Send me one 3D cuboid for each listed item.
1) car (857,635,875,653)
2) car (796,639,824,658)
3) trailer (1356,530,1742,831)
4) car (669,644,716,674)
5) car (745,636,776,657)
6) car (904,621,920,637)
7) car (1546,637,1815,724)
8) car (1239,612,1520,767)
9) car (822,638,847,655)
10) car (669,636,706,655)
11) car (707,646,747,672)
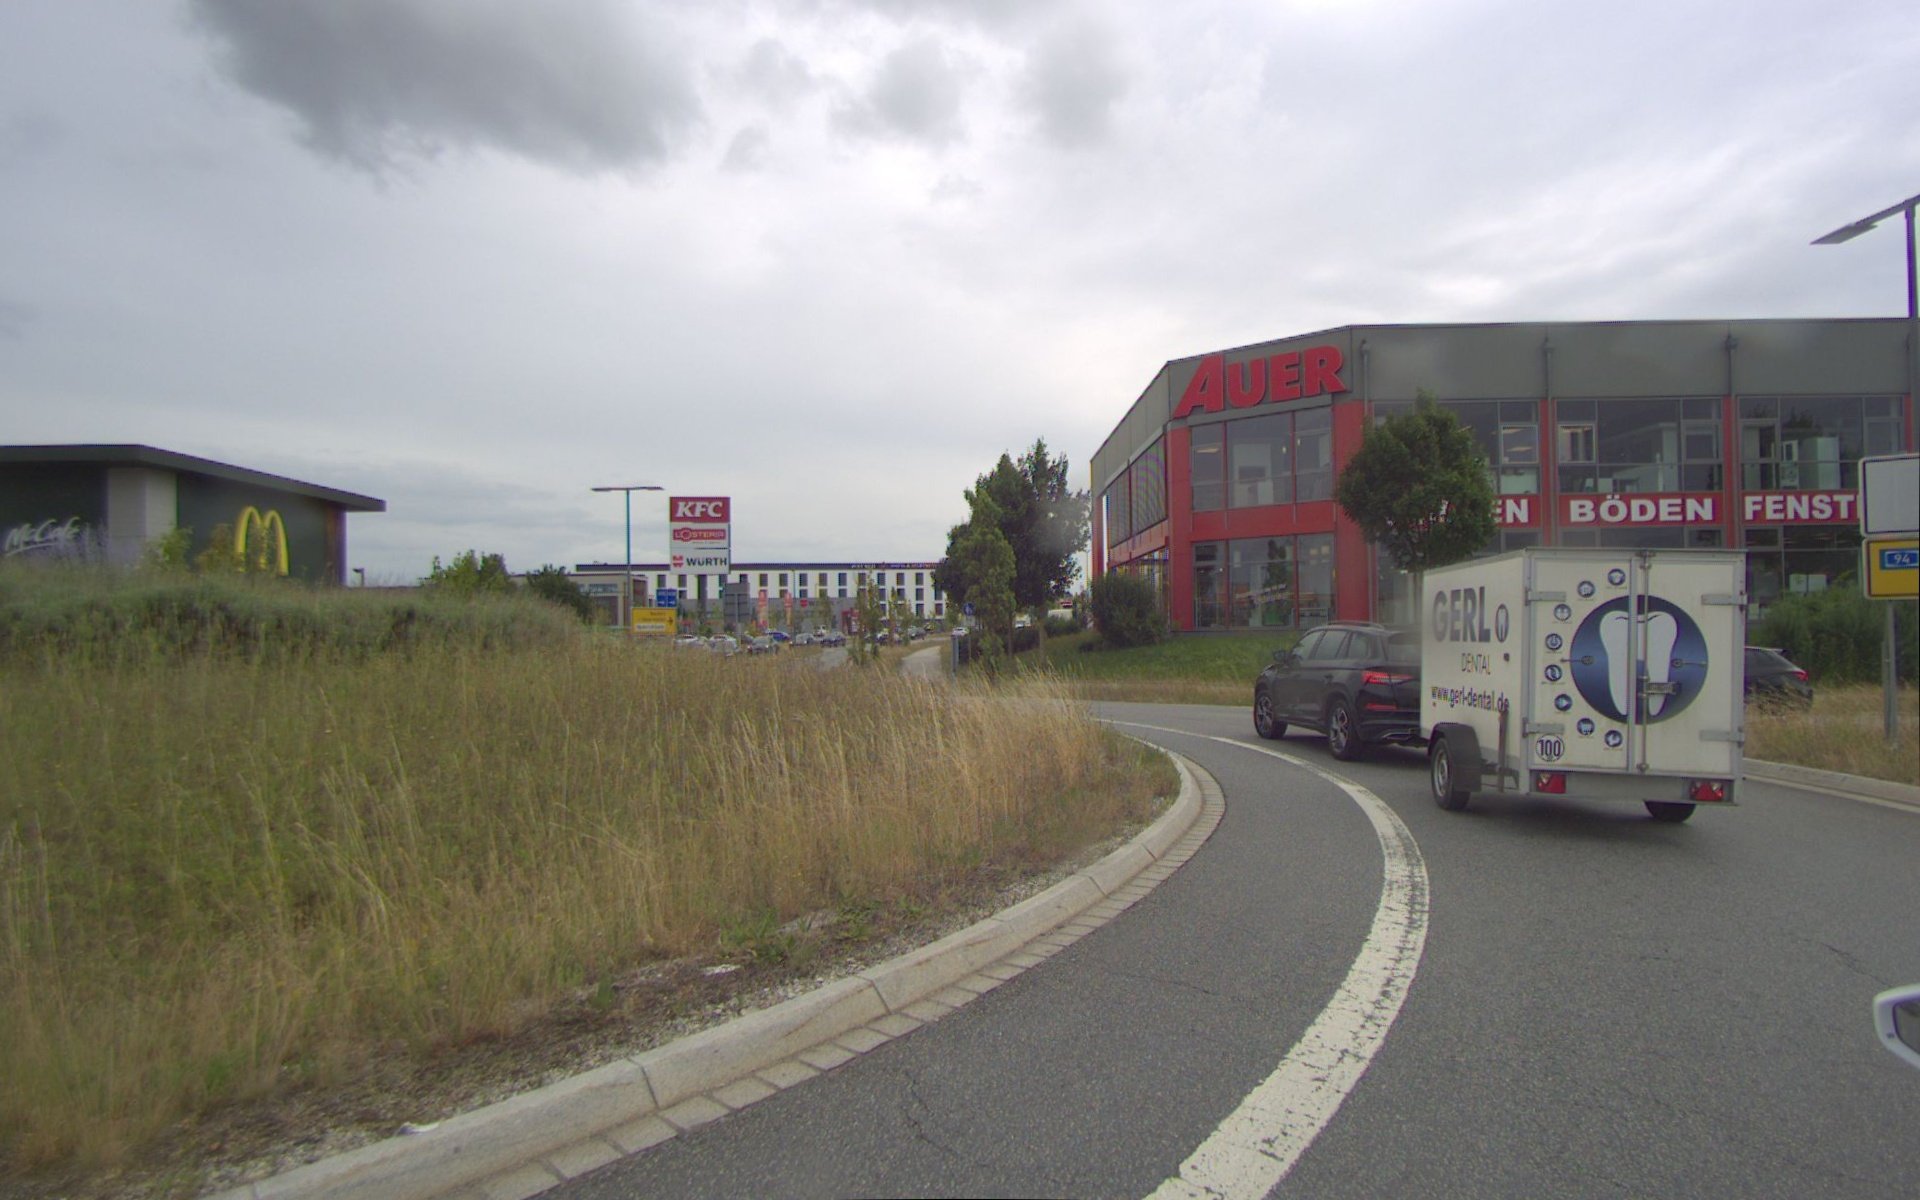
[{"bbox_3d":[-11.519,5.380,122.785,1.739,2.040,4.001,0,-1,1],"label":"car"},{"bbox_3d":[-14.227,4.587,95.187,1.960,1.654,4.001,0,-1,1],"label":"car"},{"bbox_3d":[5.016,0.609,9.282,1.775,2.119,4.149,0,-1,11],"label":"trailer"},{"bbox_3d":[-15.614,3.426,58.779,1.800,1.584,3.837,0,-1,-2],"label":"car"},{"bbox_3d":[-16.172,3.748,81.565,1.904,1.617,3.771,0,-1,-2],"label":"car"},{"bbox_3d":[-6.380,3.821,133.661,1.739,2.040,4.001,0,-1,1],"label":"car"},{"bbox_3d":[13.166,1.437,18.563,3.691,1.478,1.647,0,-1,8],"label":"car"},{"bbox_3d":[5.231,1.073,13.311,1.781,1.692,4.617,0,-2,0],"label":"car"},{"bbox_3d":[-13.221,4.880,106.293,1.960,1.654,4.001,0,-1,2],"label":"car"},{"bbox_3d":[-30.609,5.152,112.986,3.696,2.040,1.649,0,-1,5],"label":"car"},{"bbox_3d":[-15.555,3.938,67.342,1.904,1.617,3.771,0,-1,-2],"label":"car"}]
